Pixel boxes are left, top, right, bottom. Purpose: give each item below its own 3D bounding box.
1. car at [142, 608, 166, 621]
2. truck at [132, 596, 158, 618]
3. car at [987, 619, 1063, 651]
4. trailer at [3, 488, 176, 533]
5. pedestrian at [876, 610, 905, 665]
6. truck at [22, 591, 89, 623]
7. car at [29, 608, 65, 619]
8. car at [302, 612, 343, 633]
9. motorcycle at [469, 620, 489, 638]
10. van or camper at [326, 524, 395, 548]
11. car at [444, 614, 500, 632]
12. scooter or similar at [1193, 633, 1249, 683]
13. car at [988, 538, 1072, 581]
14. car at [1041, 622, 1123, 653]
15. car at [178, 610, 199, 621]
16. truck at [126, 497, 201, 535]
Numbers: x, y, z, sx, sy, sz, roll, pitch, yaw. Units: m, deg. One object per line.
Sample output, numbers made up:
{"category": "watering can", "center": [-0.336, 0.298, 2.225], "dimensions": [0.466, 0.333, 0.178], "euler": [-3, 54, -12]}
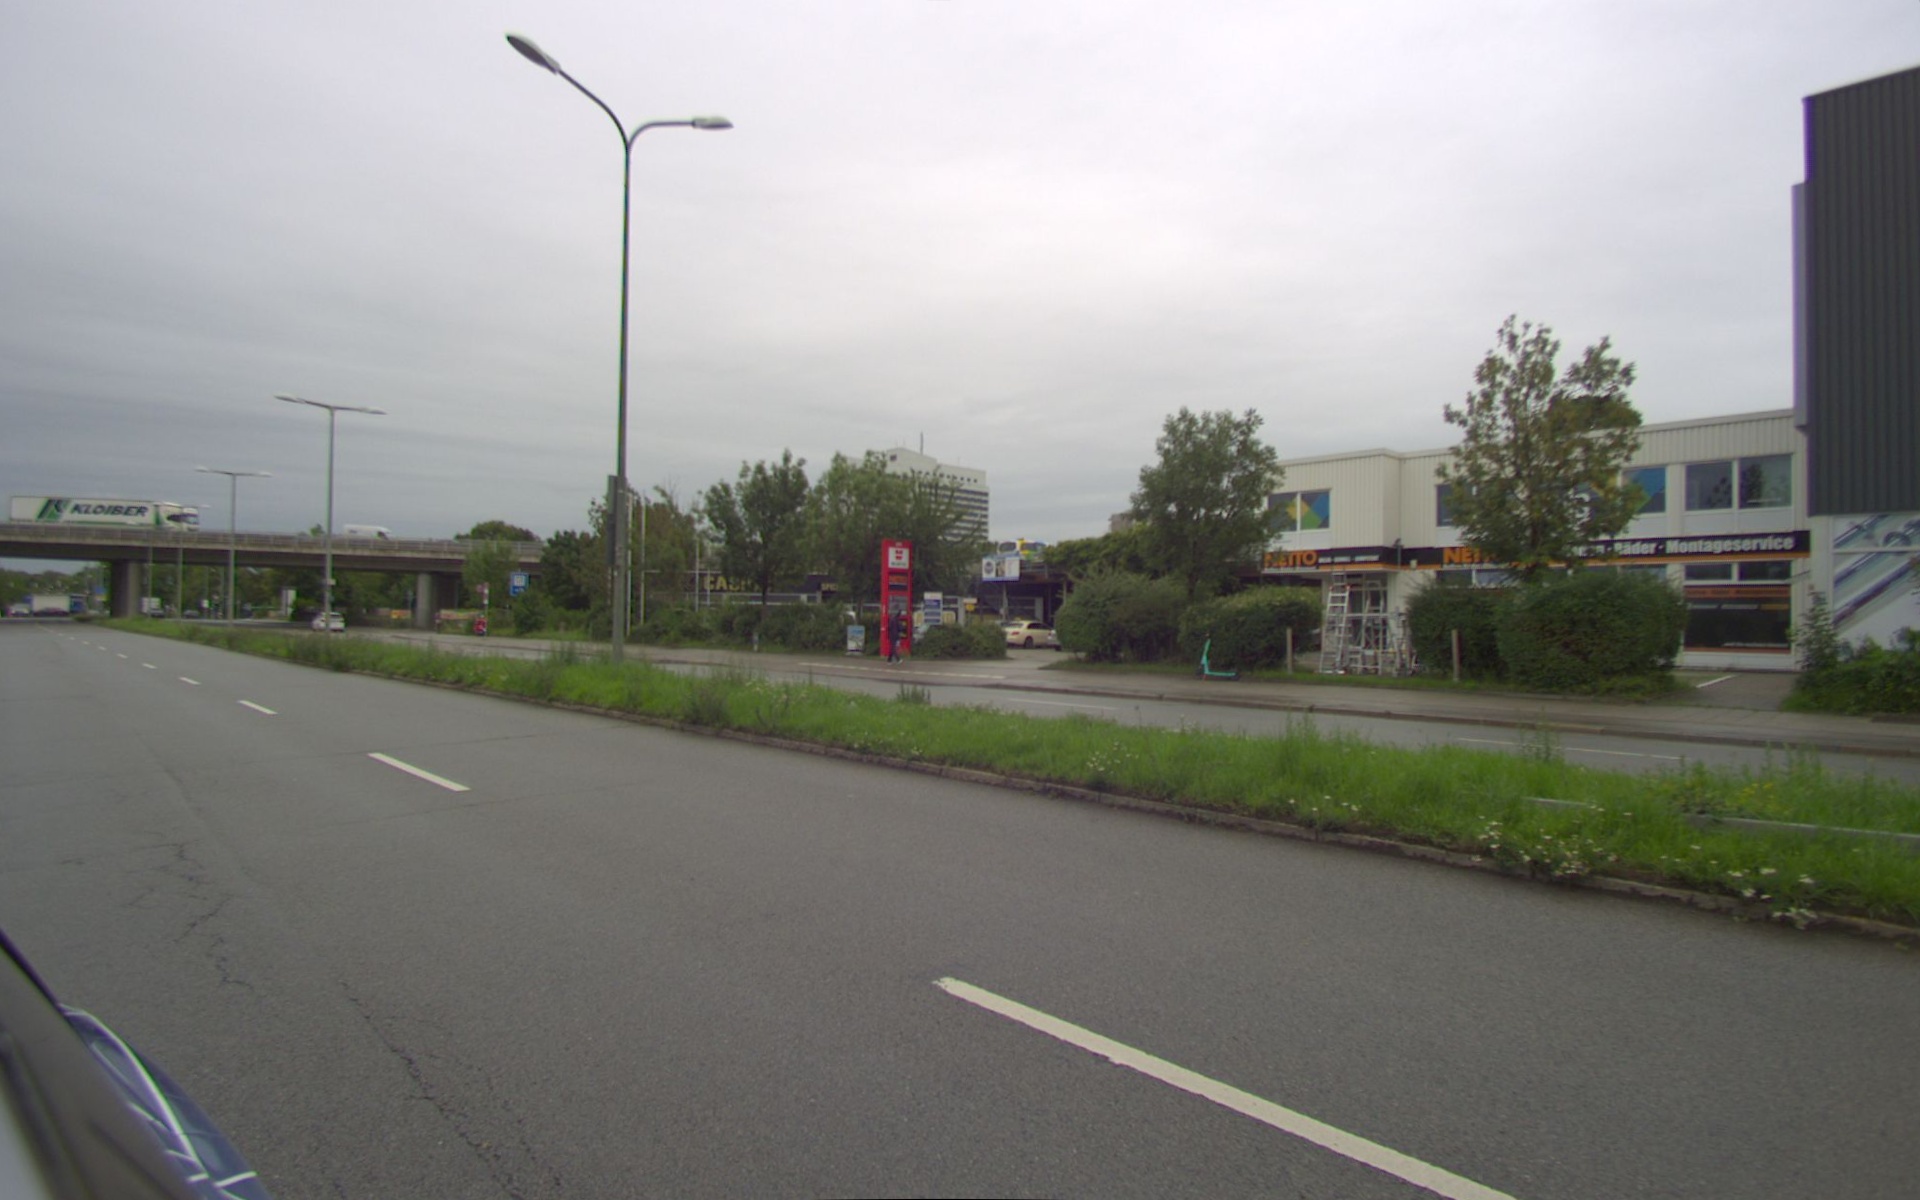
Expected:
{"category": "car", "center": [-108.338, 1.914, 135.986], "dimensions": [4.593, 1.595, 1.946], "euler": [1, -4, 45]}
{"category": "truck", "center": [-118.489, 0.953, 147.147], "dimensions": [2.226, 3.000, 7.240], "euler": [6, -4, -43]}
{"category": "car", "center": [3.505, 1.856, 54.016], "dimensions": [3.940, 1.577, 1.910], "euler": [1, 0, -44]}
{"category": "trailer", "center": [-85.345, -8.735, 99.438], "dimensions": [13.848, 3.323, 2.669], "euler": [3, -1, -4]}
{"category": "pedestrian", "center": [-2.387, 1.295, 34.930], "dimensions": [0.615, 1.844, 0.818], "euler": [2, -3, -43]}
{"category": "truck", "center": [-147.718, 1.082, 165.342], "dimensions": [9.501, 4.626, 2.789], "euler": [3, -3, 12]}
{"category": "car", "center": [-144.108, 2.104, 159.742], "dimensions": [4.544, 1.595, 1.967], "euler": [0, -3, 13]}
{"category": "car", "center": [-52.223, 1.828, 82.860], "dimensions": [1.970, 1.584, 4.579], "euler": [3, -2, -43]}
{"category": "motorcycle", "center": [-33.091, 2.002, 69.599], "dimensions": [0.527, 1.185, 2.198], "euler": [3, -2, -43]}
{"category": "van or camper", "center": [-60.172, -6.438, 101.705], "dimensions": [5.424, 2.029, 2.334], "euler": [2, -1, -4]}
{"category": "car", "center": [-46.233, 2.168, 96.025], "dimensions": [1.980, 1.584, 5.098], "euler": [1, -2, 13]}
{"category": "scooter or similar", "center": [6.723, 1.486, 26.100], "dimensions": [0.440, 1.237, 1.388], "euler": [2, -2, -44]}
{"category": "car", "center": [4.164, -2.355, 59.682], "dimensions": [4.725, 2.028, 2.138], "euler": [5, -2, -42]}
{"category": "car", "center": [6.182, 1.879, 51.135], "dimensions": [3.935, 1.479, 1.867], "euler": [1, 0, -38]}
{"category": "car", "center": [-116.116, 2.292, 152.335], "dimensions": [1.946, 1.407, 4.820], "euler": [4, -2, -44]}
{"category": "truck", "center": [-78.630, -8.300, 99.931], "dimensions": [5.116, 3.270, 2.600], "euler": [3, -1, -5]}
